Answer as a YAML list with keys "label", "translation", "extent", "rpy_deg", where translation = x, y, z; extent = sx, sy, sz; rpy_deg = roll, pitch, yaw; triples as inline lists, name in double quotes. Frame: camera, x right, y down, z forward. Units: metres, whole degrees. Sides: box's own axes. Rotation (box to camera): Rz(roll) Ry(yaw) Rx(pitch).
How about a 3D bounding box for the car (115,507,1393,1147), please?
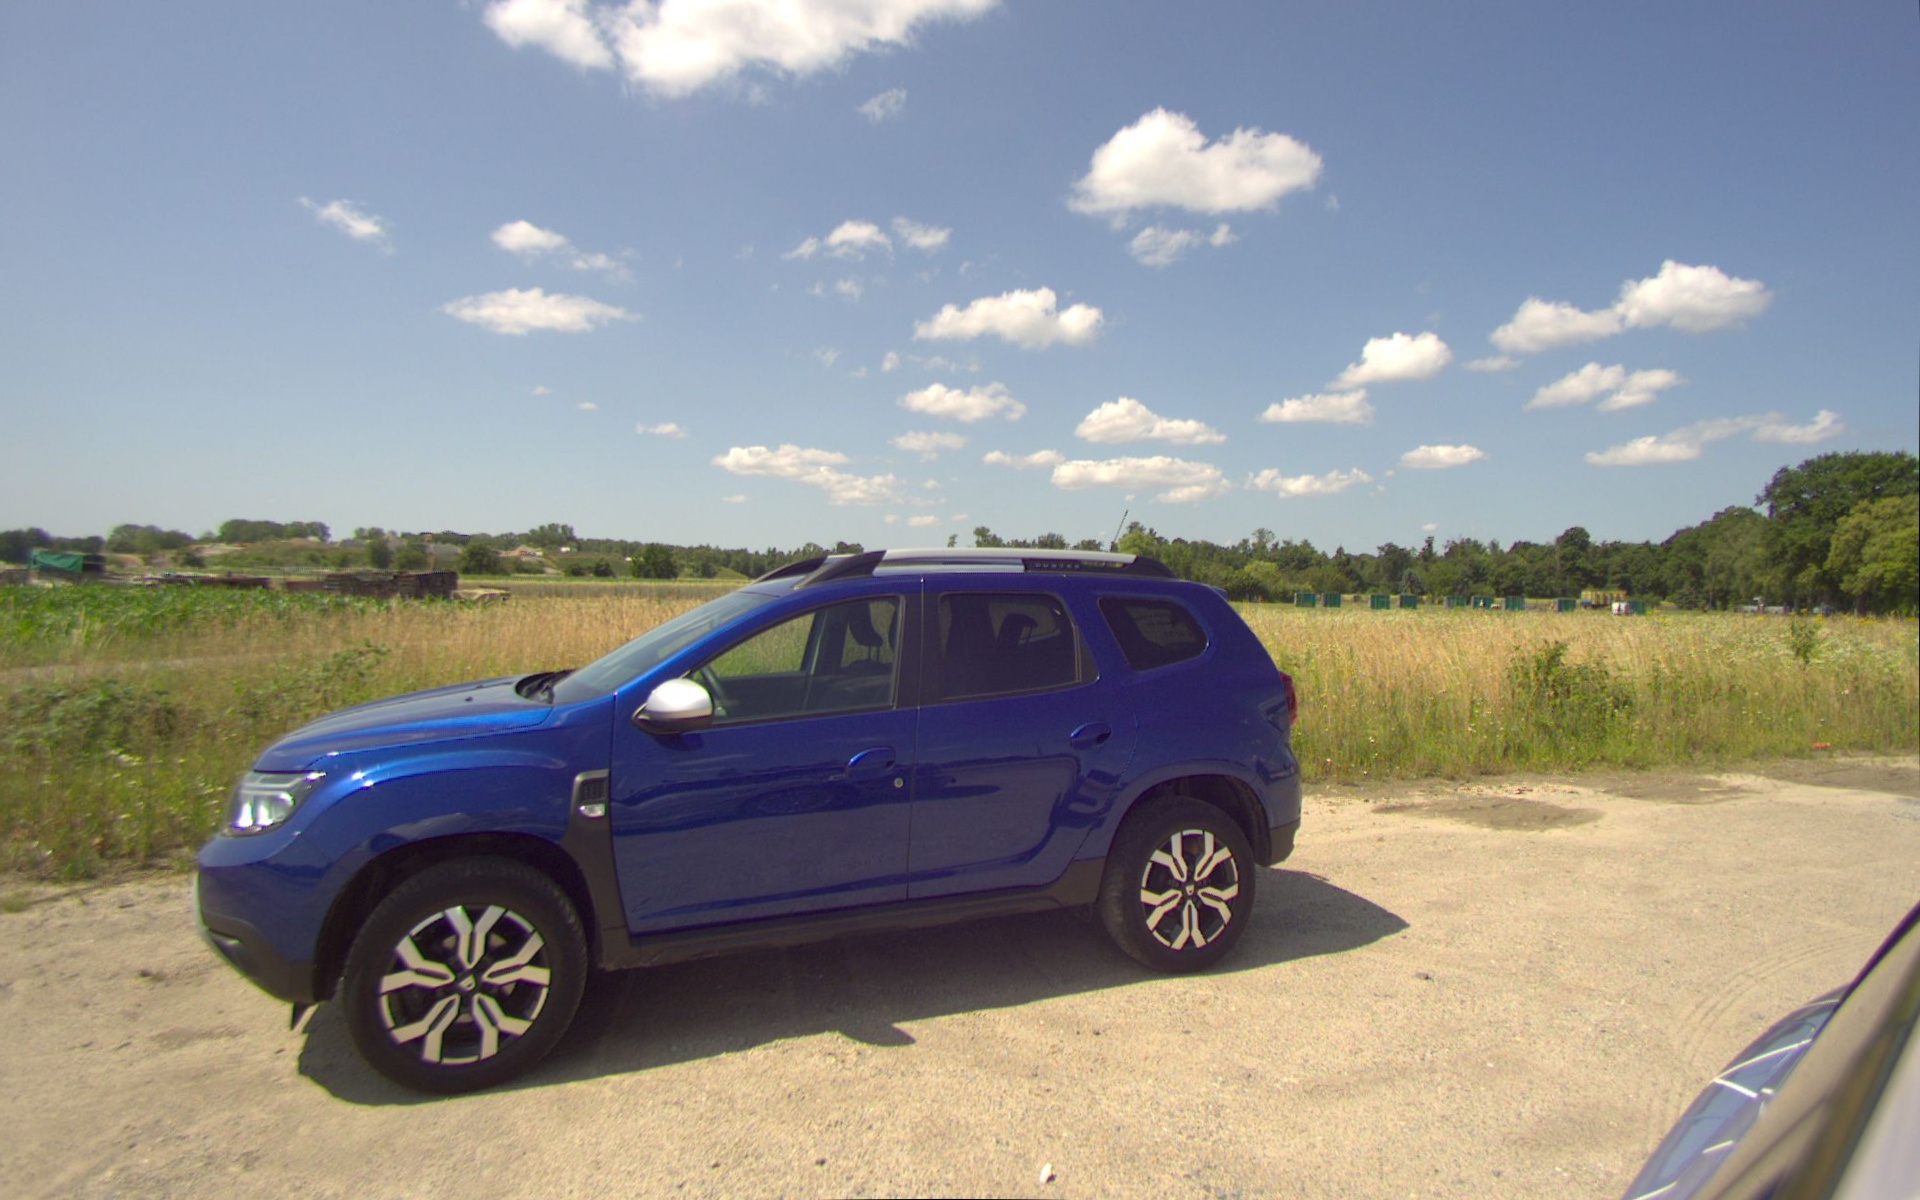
- label: "car"
  translation: [-0.537, 0.585, 4.341]
  extent: [4.365, 1.682, 1.868]
  rpy_deg: [0, 0, -22]
